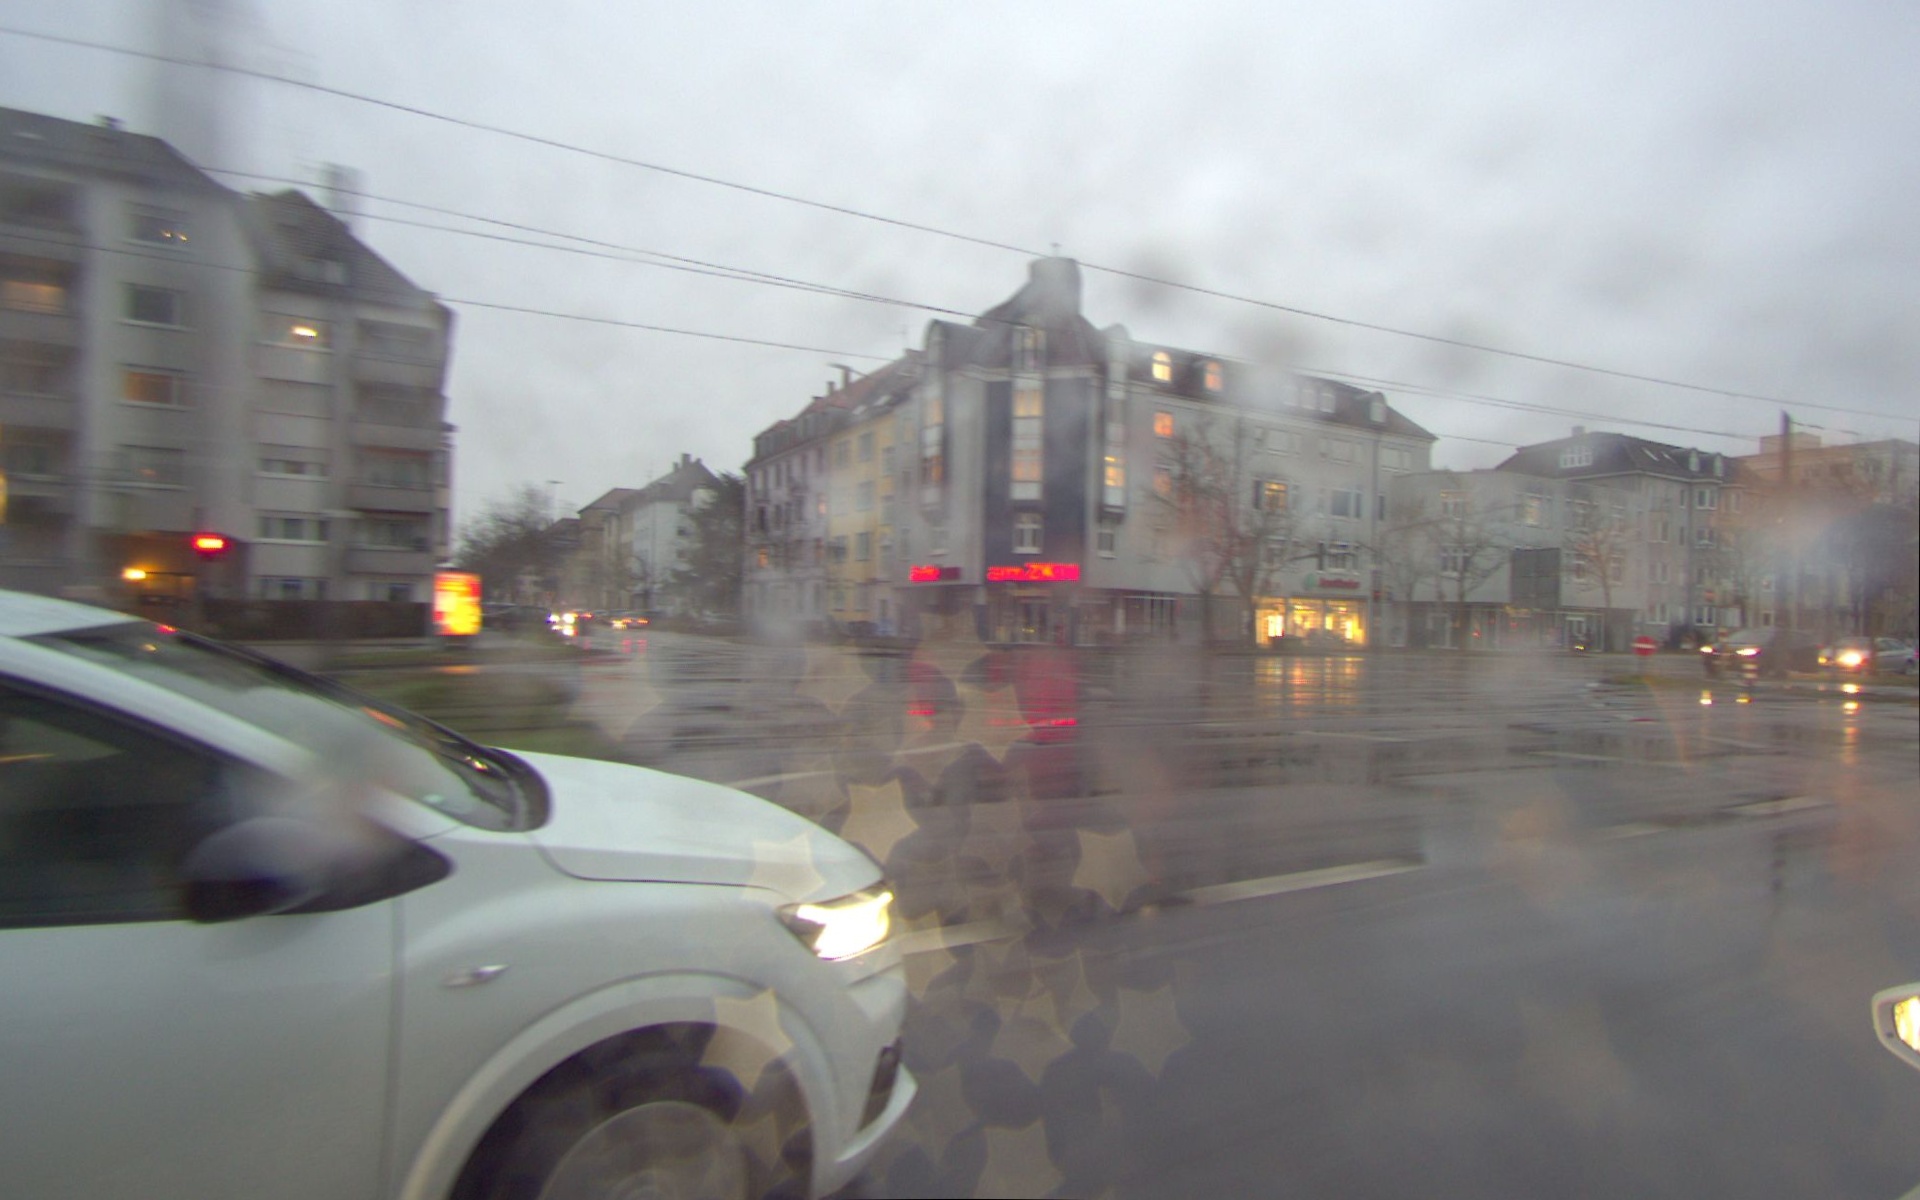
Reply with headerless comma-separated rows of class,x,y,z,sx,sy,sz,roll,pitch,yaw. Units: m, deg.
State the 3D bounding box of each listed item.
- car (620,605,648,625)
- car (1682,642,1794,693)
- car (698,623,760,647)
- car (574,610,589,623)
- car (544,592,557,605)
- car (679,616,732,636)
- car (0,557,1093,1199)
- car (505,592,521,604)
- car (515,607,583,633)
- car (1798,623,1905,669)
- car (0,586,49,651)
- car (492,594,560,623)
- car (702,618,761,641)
car,-25.087,1.152,77.231,1.662,1.365,3.513,3,0,-24
car,27.764,2.401,35.821,3.955,1.628,1.795,3,0,-31
car,-15.108,2.274,65.737,3.574,1.360,1.589,3,0,-30
car,-37.122,1.576,98.488,1.153,1.161,2.453,3,0,-26
car,-58.043,-0.192,142.377,1.490,1.736,3.588,3,0,-26
car,-18.552,1.905,73.309,3.448,1.308,1.589,3,0,-30
car,-1.844,0.668,2.122,3.953,1.485,1.700,3,0,-30
car,-69.142,-0.284,155.399,1.741,1.621,3.874,3,0,-33
car,-23.510,1.131,57.487,3.414,1.315,1.576,3,0,-30
car,33.790,1.763,38.034,4.878,1.549,1.579,3,0,-31
car,-23.456,0.396,24.147,1.681,1.384,3.774,3,0,-34
car,-26.414,0.507,61.150,3.574,1.542,1.667,3,0,-30
car,-15.743,2.035,69.203,3.574,1.360,1.589,3,0,-30
